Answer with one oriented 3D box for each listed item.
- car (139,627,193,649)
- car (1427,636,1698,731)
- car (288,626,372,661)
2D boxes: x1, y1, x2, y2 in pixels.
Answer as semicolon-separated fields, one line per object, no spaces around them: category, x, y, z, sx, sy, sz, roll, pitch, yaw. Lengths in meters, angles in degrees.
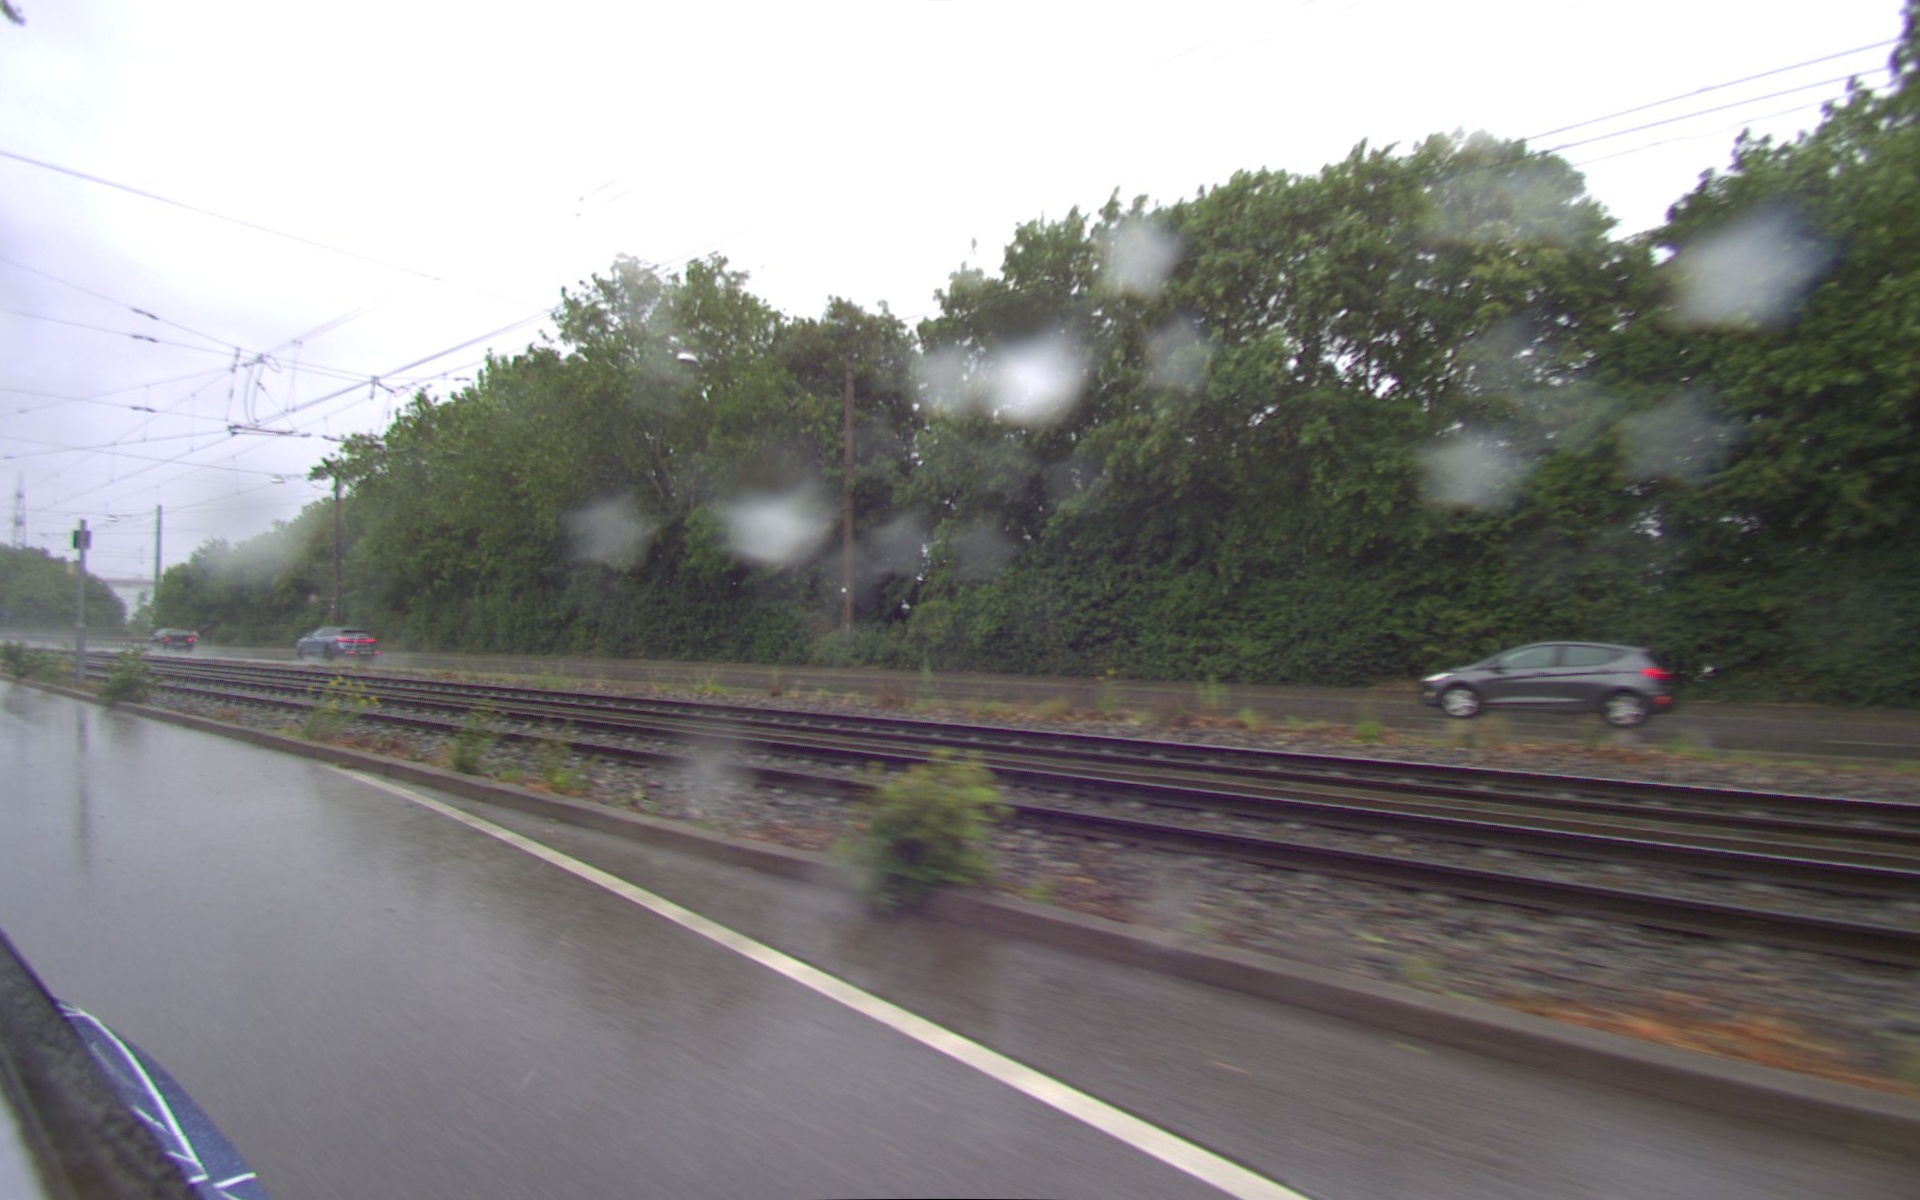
car;-51.048;2.424;65.051;4.375;1.340;1.754;-1;-2;39
car;10.567;1.387;17.888;3.935;1.417;1.666;-1;-1;39
car;-28.738;1.960;46.107;4.949;1.535;1.674;-1;-2;39
